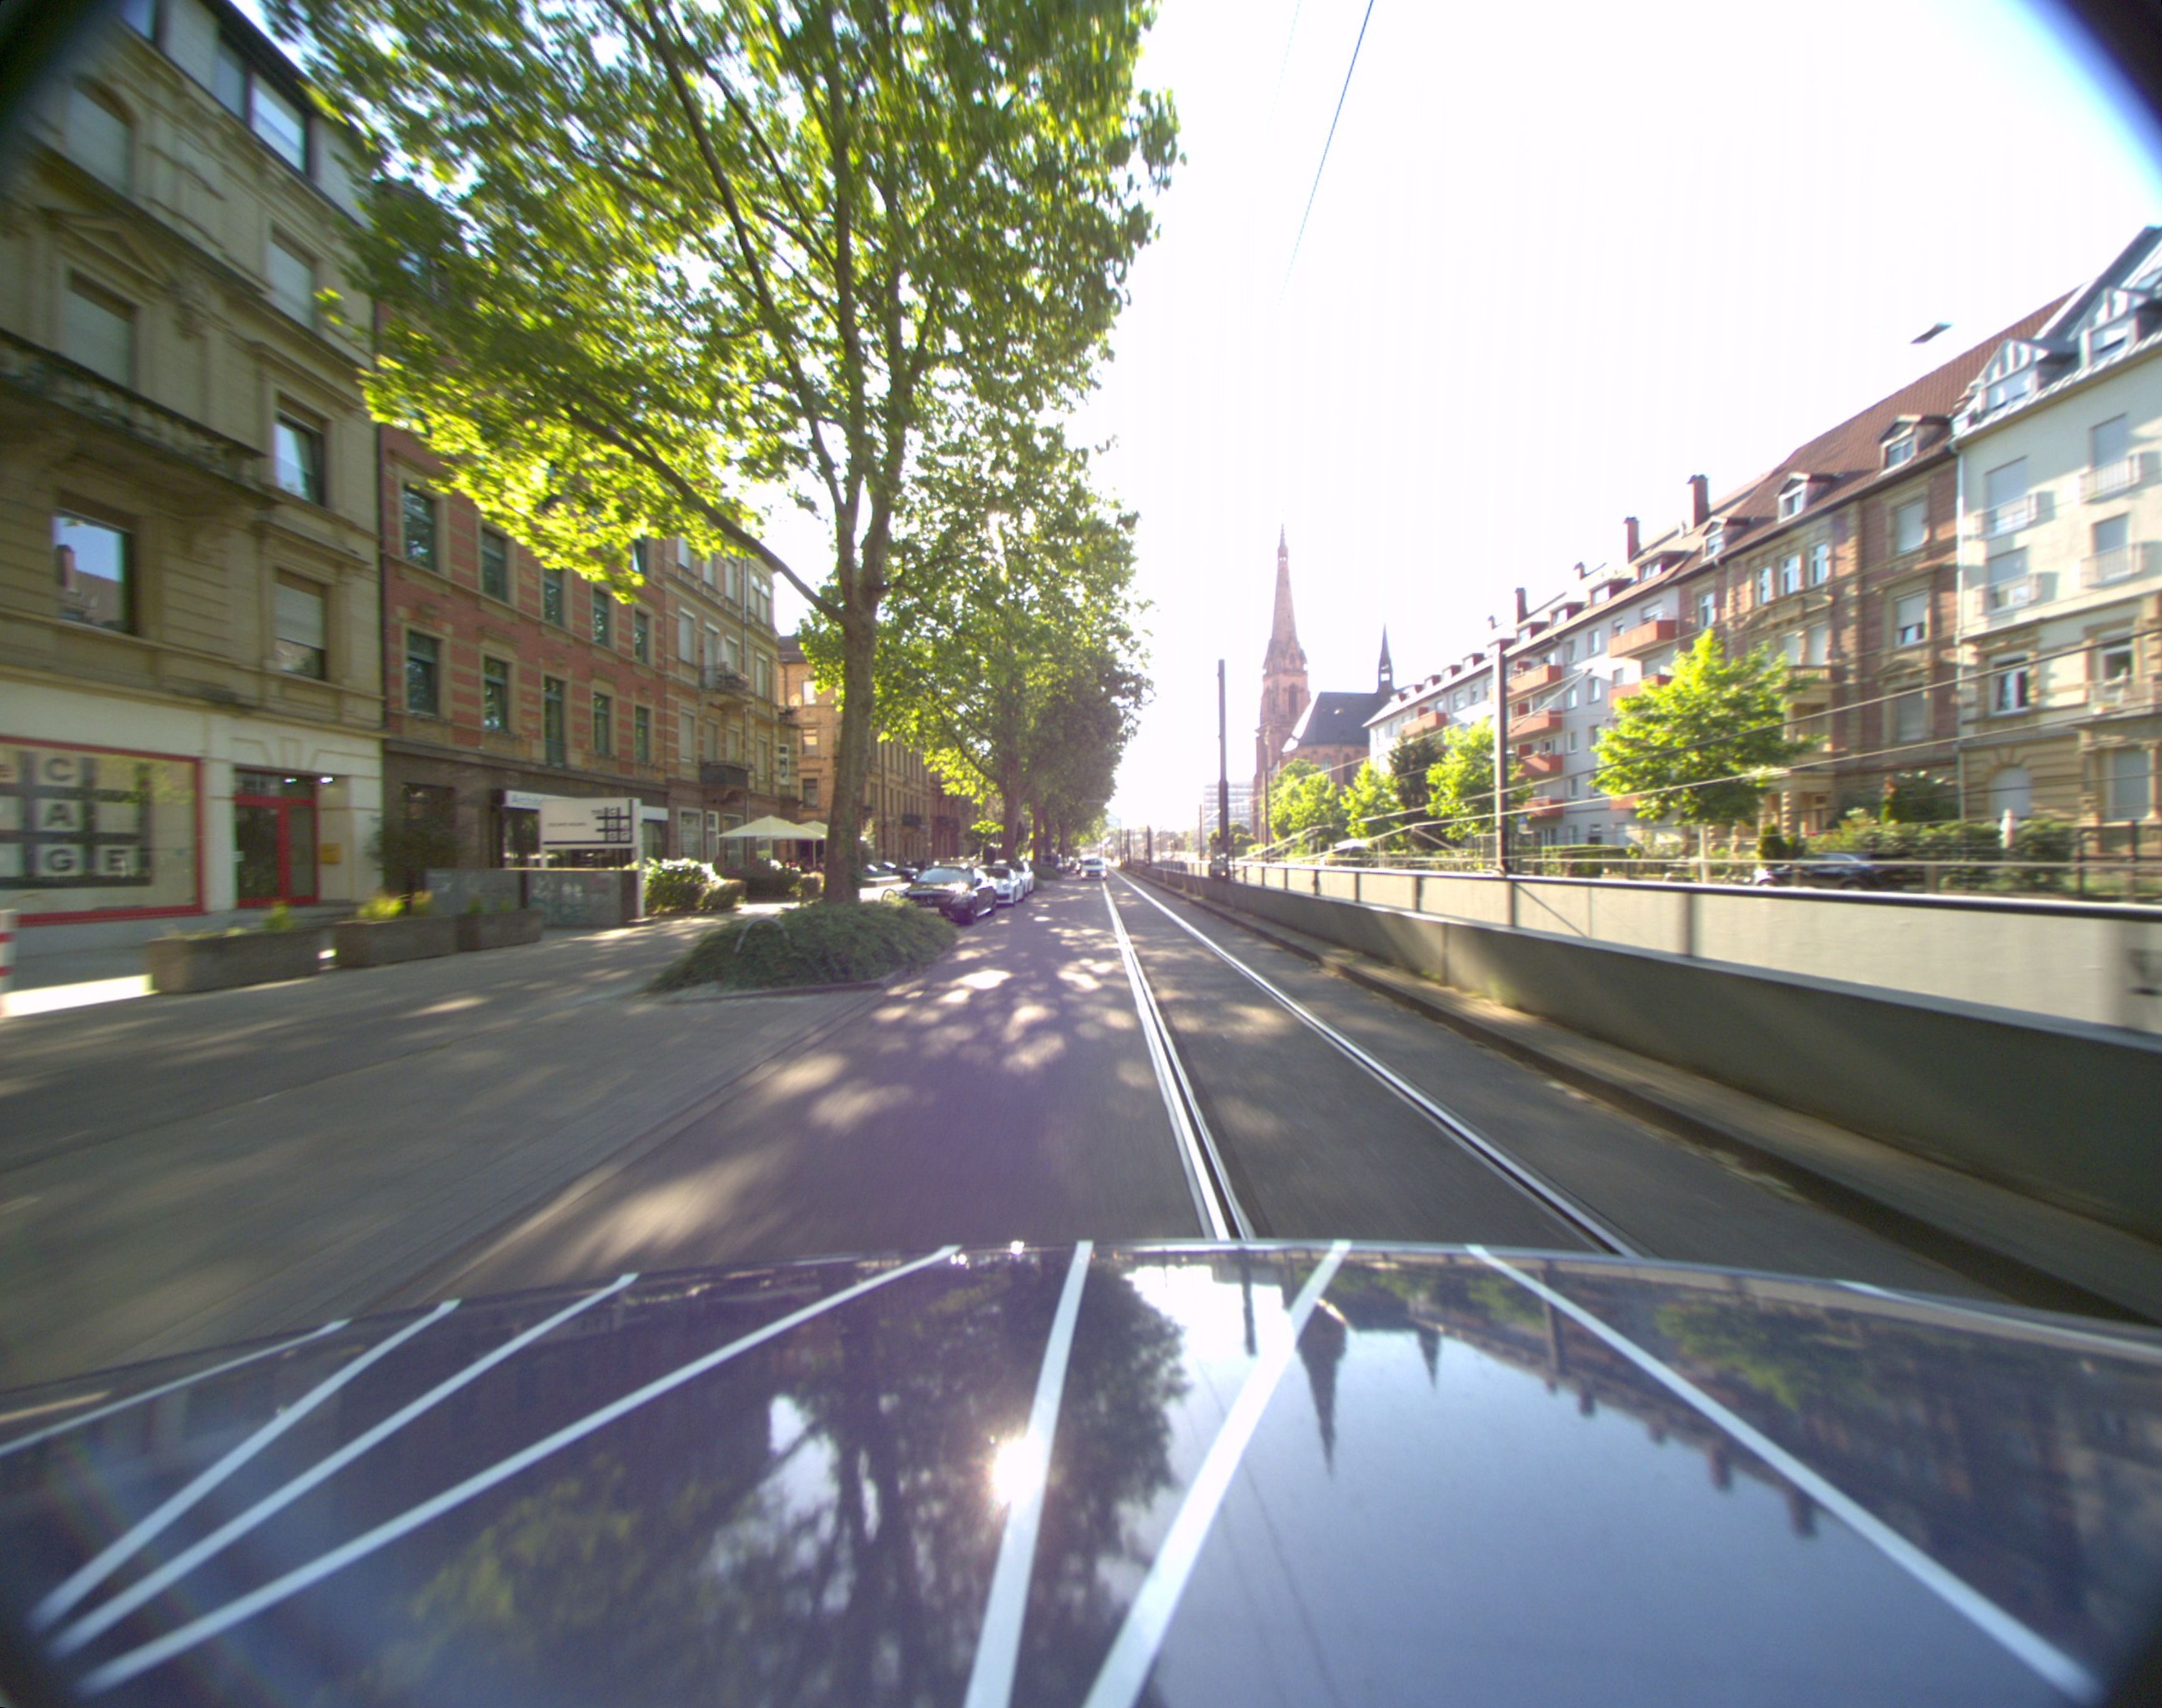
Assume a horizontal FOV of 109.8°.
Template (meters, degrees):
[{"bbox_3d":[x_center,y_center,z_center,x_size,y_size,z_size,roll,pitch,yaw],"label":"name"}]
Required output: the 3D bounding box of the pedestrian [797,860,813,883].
[{"bbox_3d":[-13.559,0.845,37.351,0.557,1.131,0.526,-1,1,0],"label":"pedestrian"}]

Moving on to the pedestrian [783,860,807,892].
[{"bbox_3d":[-11.857,0.890,31.533,0.714,1.292,0.663,-1,1,2],"label":"pedestrian"}]

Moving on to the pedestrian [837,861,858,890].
[{"bbox_3d":[-10.661,0.995,34.742,0.714,1.292,0.662,-1,1,0],"label":"pedestrian"}]

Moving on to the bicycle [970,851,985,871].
[{"bbox_3d":[-6.230,0.417,45.943,0.562,1.171,2.226,-3,0,0],"label":"bicycle"}]

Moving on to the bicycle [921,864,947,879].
[{"bbox_3d":[-9.861,1.172,51.044,1.696,0.911,0.602,-1,1,-10],"label":"bicycle"}]

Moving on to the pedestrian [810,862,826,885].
[{"bbox_3d":[-12.882,0.935,37.259,0.557,1.095,0.526,-1,1,0],"label":"pedestrian"}]

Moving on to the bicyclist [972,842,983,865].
[{"bbox_3d":[-6.250,-0.008,45.939,0.544,1.372,0.644,-3,-1,0],"label":"bicyclist"}]

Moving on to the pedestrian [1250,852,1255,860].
[{"bbox_3d":[30.825,0.316,136.398,0.587,1.480,0.946,-3,0,-2],"label":"pedestrian"}]

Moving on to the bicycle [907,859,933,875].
[{"bbox_3d":[-12.010,0.964,56.645,1.866,1.147,0.476,-1,1,5],"label":"bicycle"}]

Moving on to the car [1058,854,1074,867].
[{"bbox_3d":[-1.670,0.727,85.816,1.719,1.454,3.999,0,1,0],"label":"car"}]

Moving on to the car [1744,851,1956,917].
[{"bbox_3d":[21.441,0.777,21.454,1.837,1.575,4.000,-3,0,-1],"label":"car"}]

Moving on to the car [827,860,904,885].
[{"bbox_3d":[-12.475,1.086,44.174,3.998,1.356,1.743,0,-1,-2],"label":"car"}]

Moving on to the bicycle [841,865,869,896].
[{"bbox_3d":[-8.888,1.026,29.969,0.476,1.137,1.896,1,0,1],"label":"bicycle"}]

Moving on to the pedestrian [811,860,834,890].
[{"bbox_3d":[-11.107,0.891,32.697,0.714,1.292,0.663,-1,1,1],"label":"pedestrian"}]

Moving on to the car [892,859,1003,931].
[{"bbox_3d":[-3.210,0.921,19.220,1.736,1.527,4.805,-1,0,3],"label":"car"}]

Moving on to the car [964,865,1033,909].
[{"bbox_3d":[-2.754,1.092,26.198,1.834,1.319,4.000,-1,0,1],"label":"car"}]

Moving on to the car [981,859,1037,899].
[{"bbox_3d":[-2.875,0.971,31.422,1.807,1.469,4.646,-1,0,1],"label":"car"}]

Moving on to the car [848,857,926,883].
[{"bbox_3d":[-12.567,1.017,49.395,4.615,1.539,1.922,-1,0,-4],"label":"car"}]

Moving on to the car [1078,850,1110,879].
[{"bbox_3d":[0.898,0.693,49.880,1.823,1.728,4.002,-2,-1,4],"label":"car"}]

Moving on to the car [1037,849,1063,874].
[{"bbox_3d":[-2.540,0.646,63.562,1.999,2.002,5.202,0,0,0],"label":"car"}]

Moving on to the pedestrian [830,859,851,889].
[{"bbox_3d":[-10.637,0.887,33.624,0.714,1.292,0.662,-1,1,0],"label":"pedestrian"}]

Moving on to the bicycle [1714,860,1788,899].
[{"bbox_3d":[21.958,0.840,24.930,1.812,1.171,0.562,-3,0,4],"label":"bicycle"}]

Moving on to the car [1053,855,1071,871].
[{"bbox_3d":[-1.994,0.906,79.823,1.718,1.540,4.500,1,1,1],"label":"car"}]
